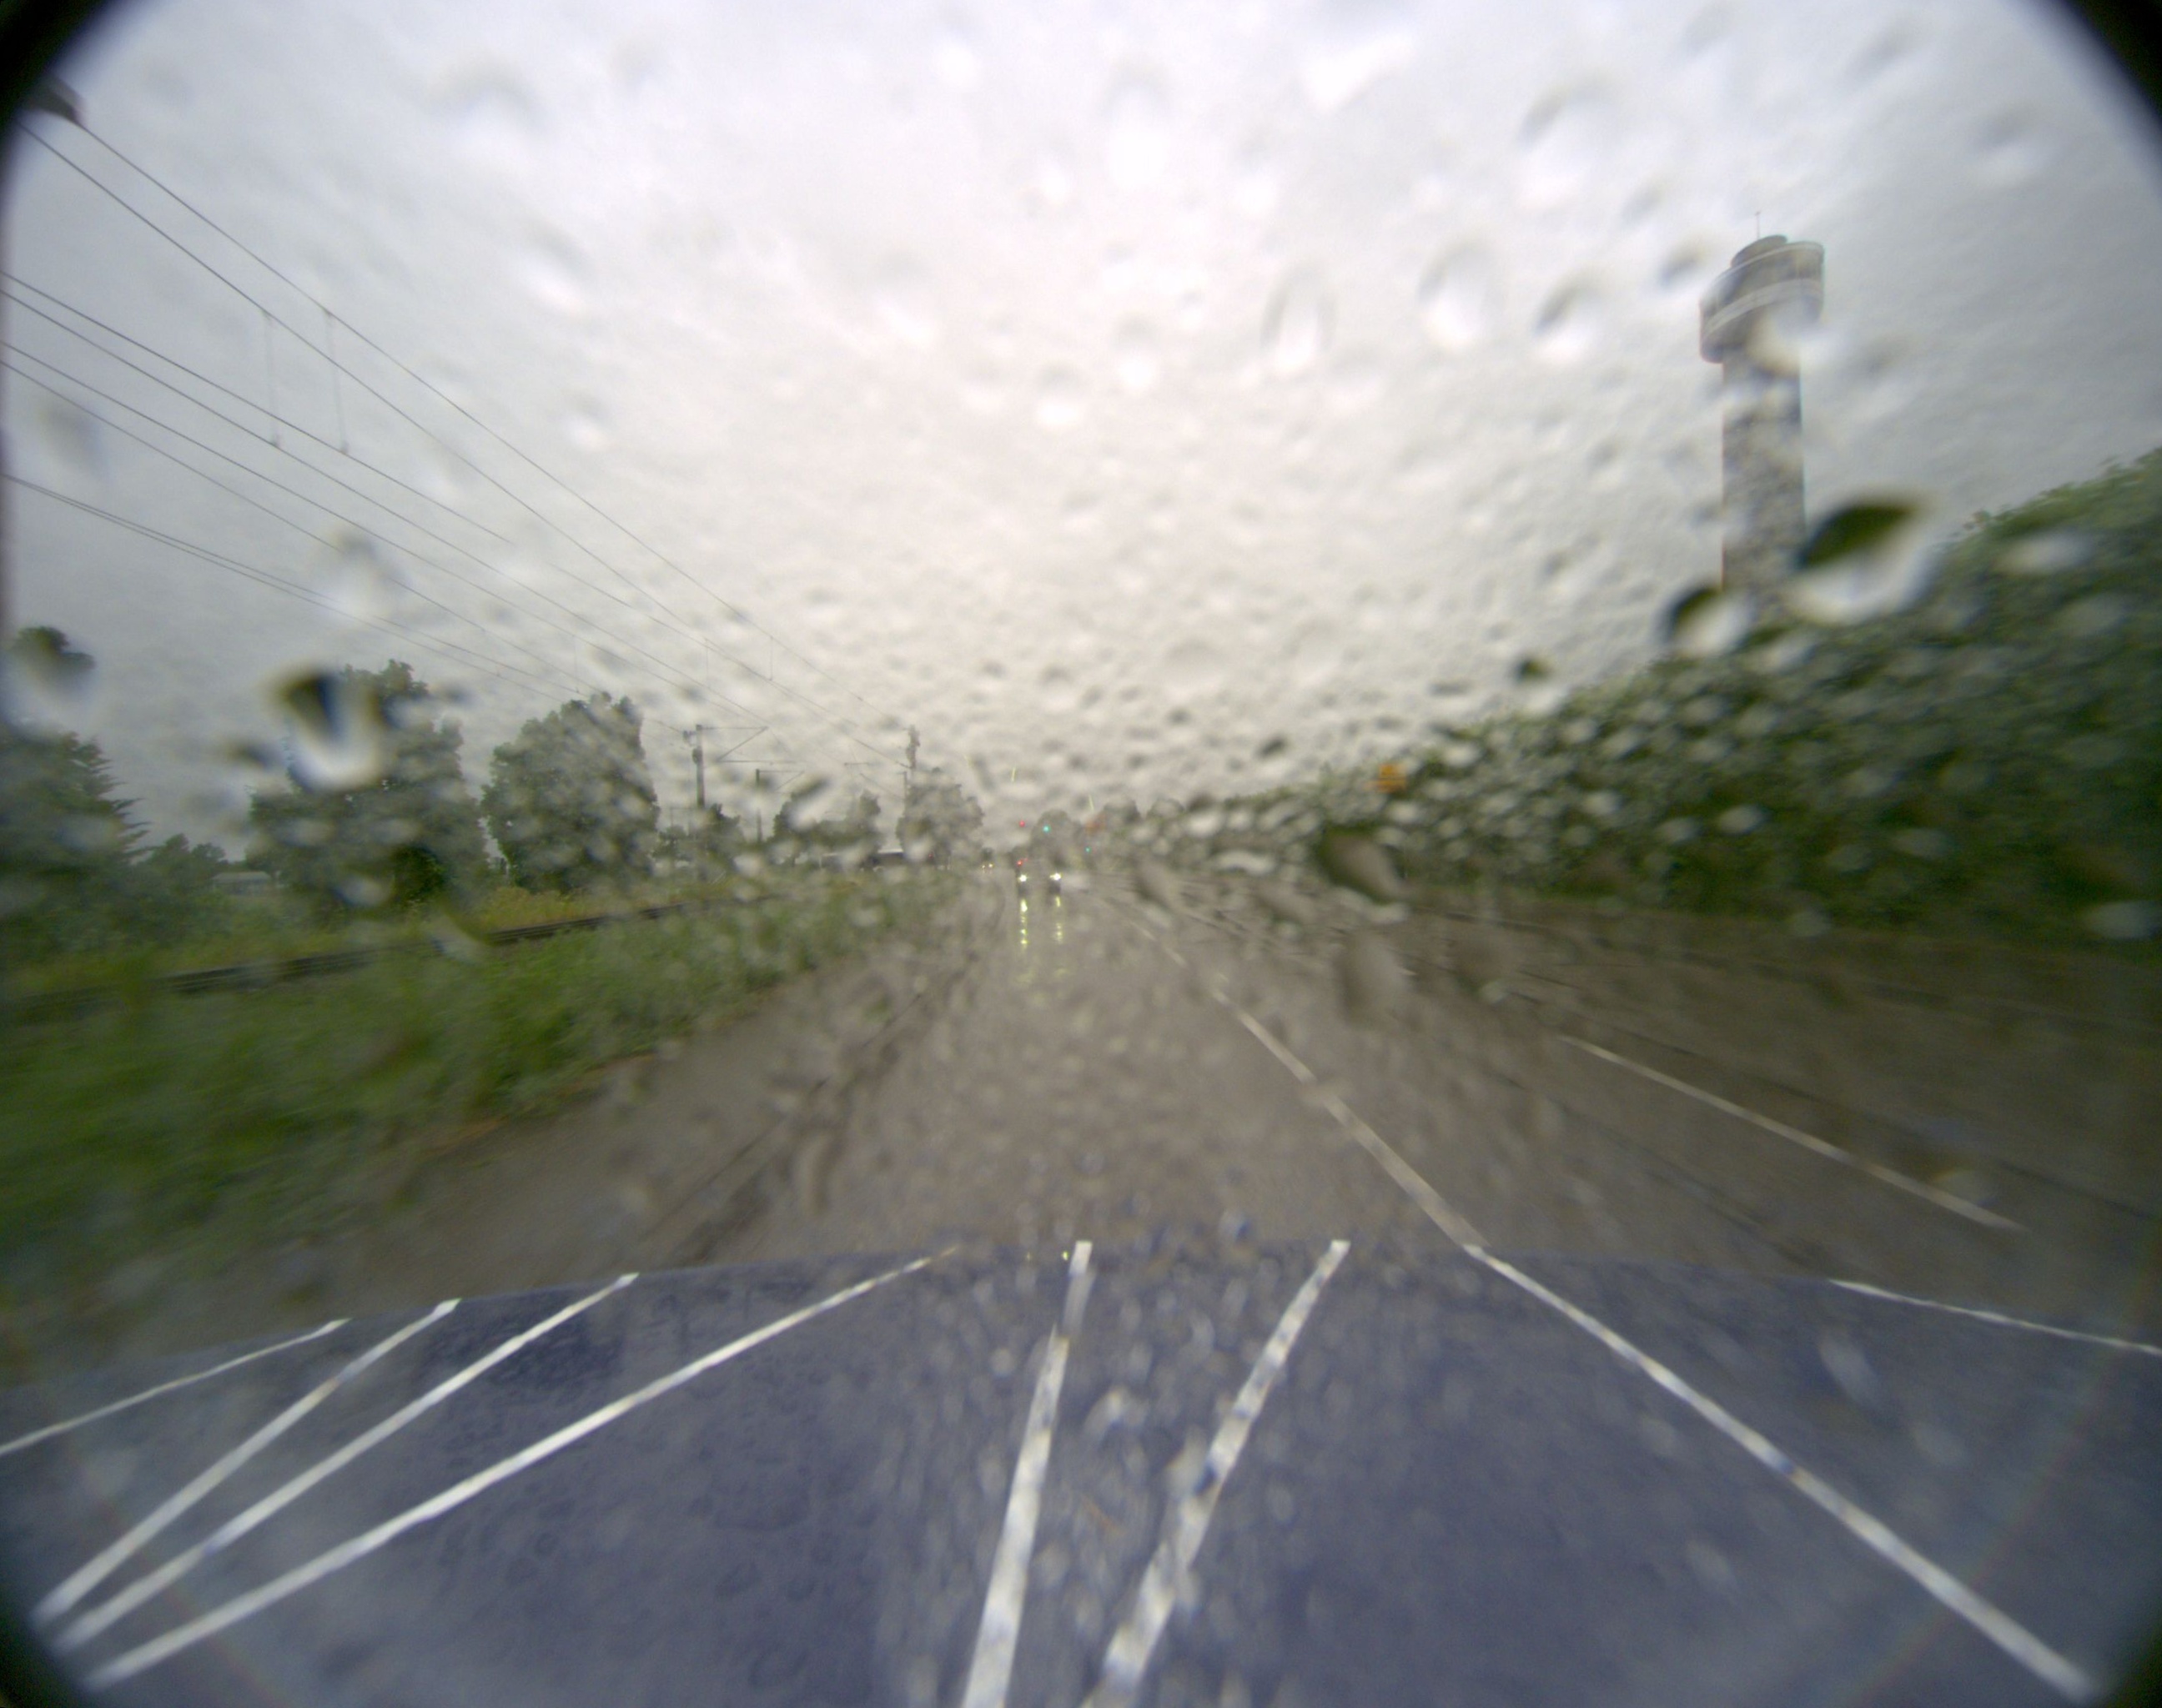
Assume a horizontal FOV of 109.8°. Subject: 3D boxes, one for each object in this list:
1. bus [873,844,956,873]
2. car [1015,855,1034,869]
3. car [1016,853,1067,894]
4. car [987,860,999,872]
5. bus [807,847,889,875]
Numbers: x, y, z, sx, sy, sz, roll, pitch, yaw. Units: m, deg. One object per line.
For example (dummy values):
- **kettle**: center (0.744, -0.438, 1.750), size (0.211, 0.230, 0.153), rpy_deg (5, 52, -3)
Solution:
- **bus**: center (-19.291, 0.542, 87.773), size (9.969, 3.059, 2.683), rpy_deg (-2, 1, 29)
- **car**: center (-6.471, 0.924, 87.280), size (1.768, 1.528, 3.873), rpy_deg (-1, 0, -10)
- **car**: center (-1.801, 0.811, 33.614), size (1.999, 1.622, 3.998), rpy_deg (-2, 0, -6)
- **car**: center (-16.675, 2.253, 143.905), size (1.921, 2.002, 3.998), rpy_deg (-2, 0, -3)
- **bus**: center (-28.333, 0.888, 92.282), size (9.971, 3.059, 2.682), rpy_deg (-2, 1, 24)
